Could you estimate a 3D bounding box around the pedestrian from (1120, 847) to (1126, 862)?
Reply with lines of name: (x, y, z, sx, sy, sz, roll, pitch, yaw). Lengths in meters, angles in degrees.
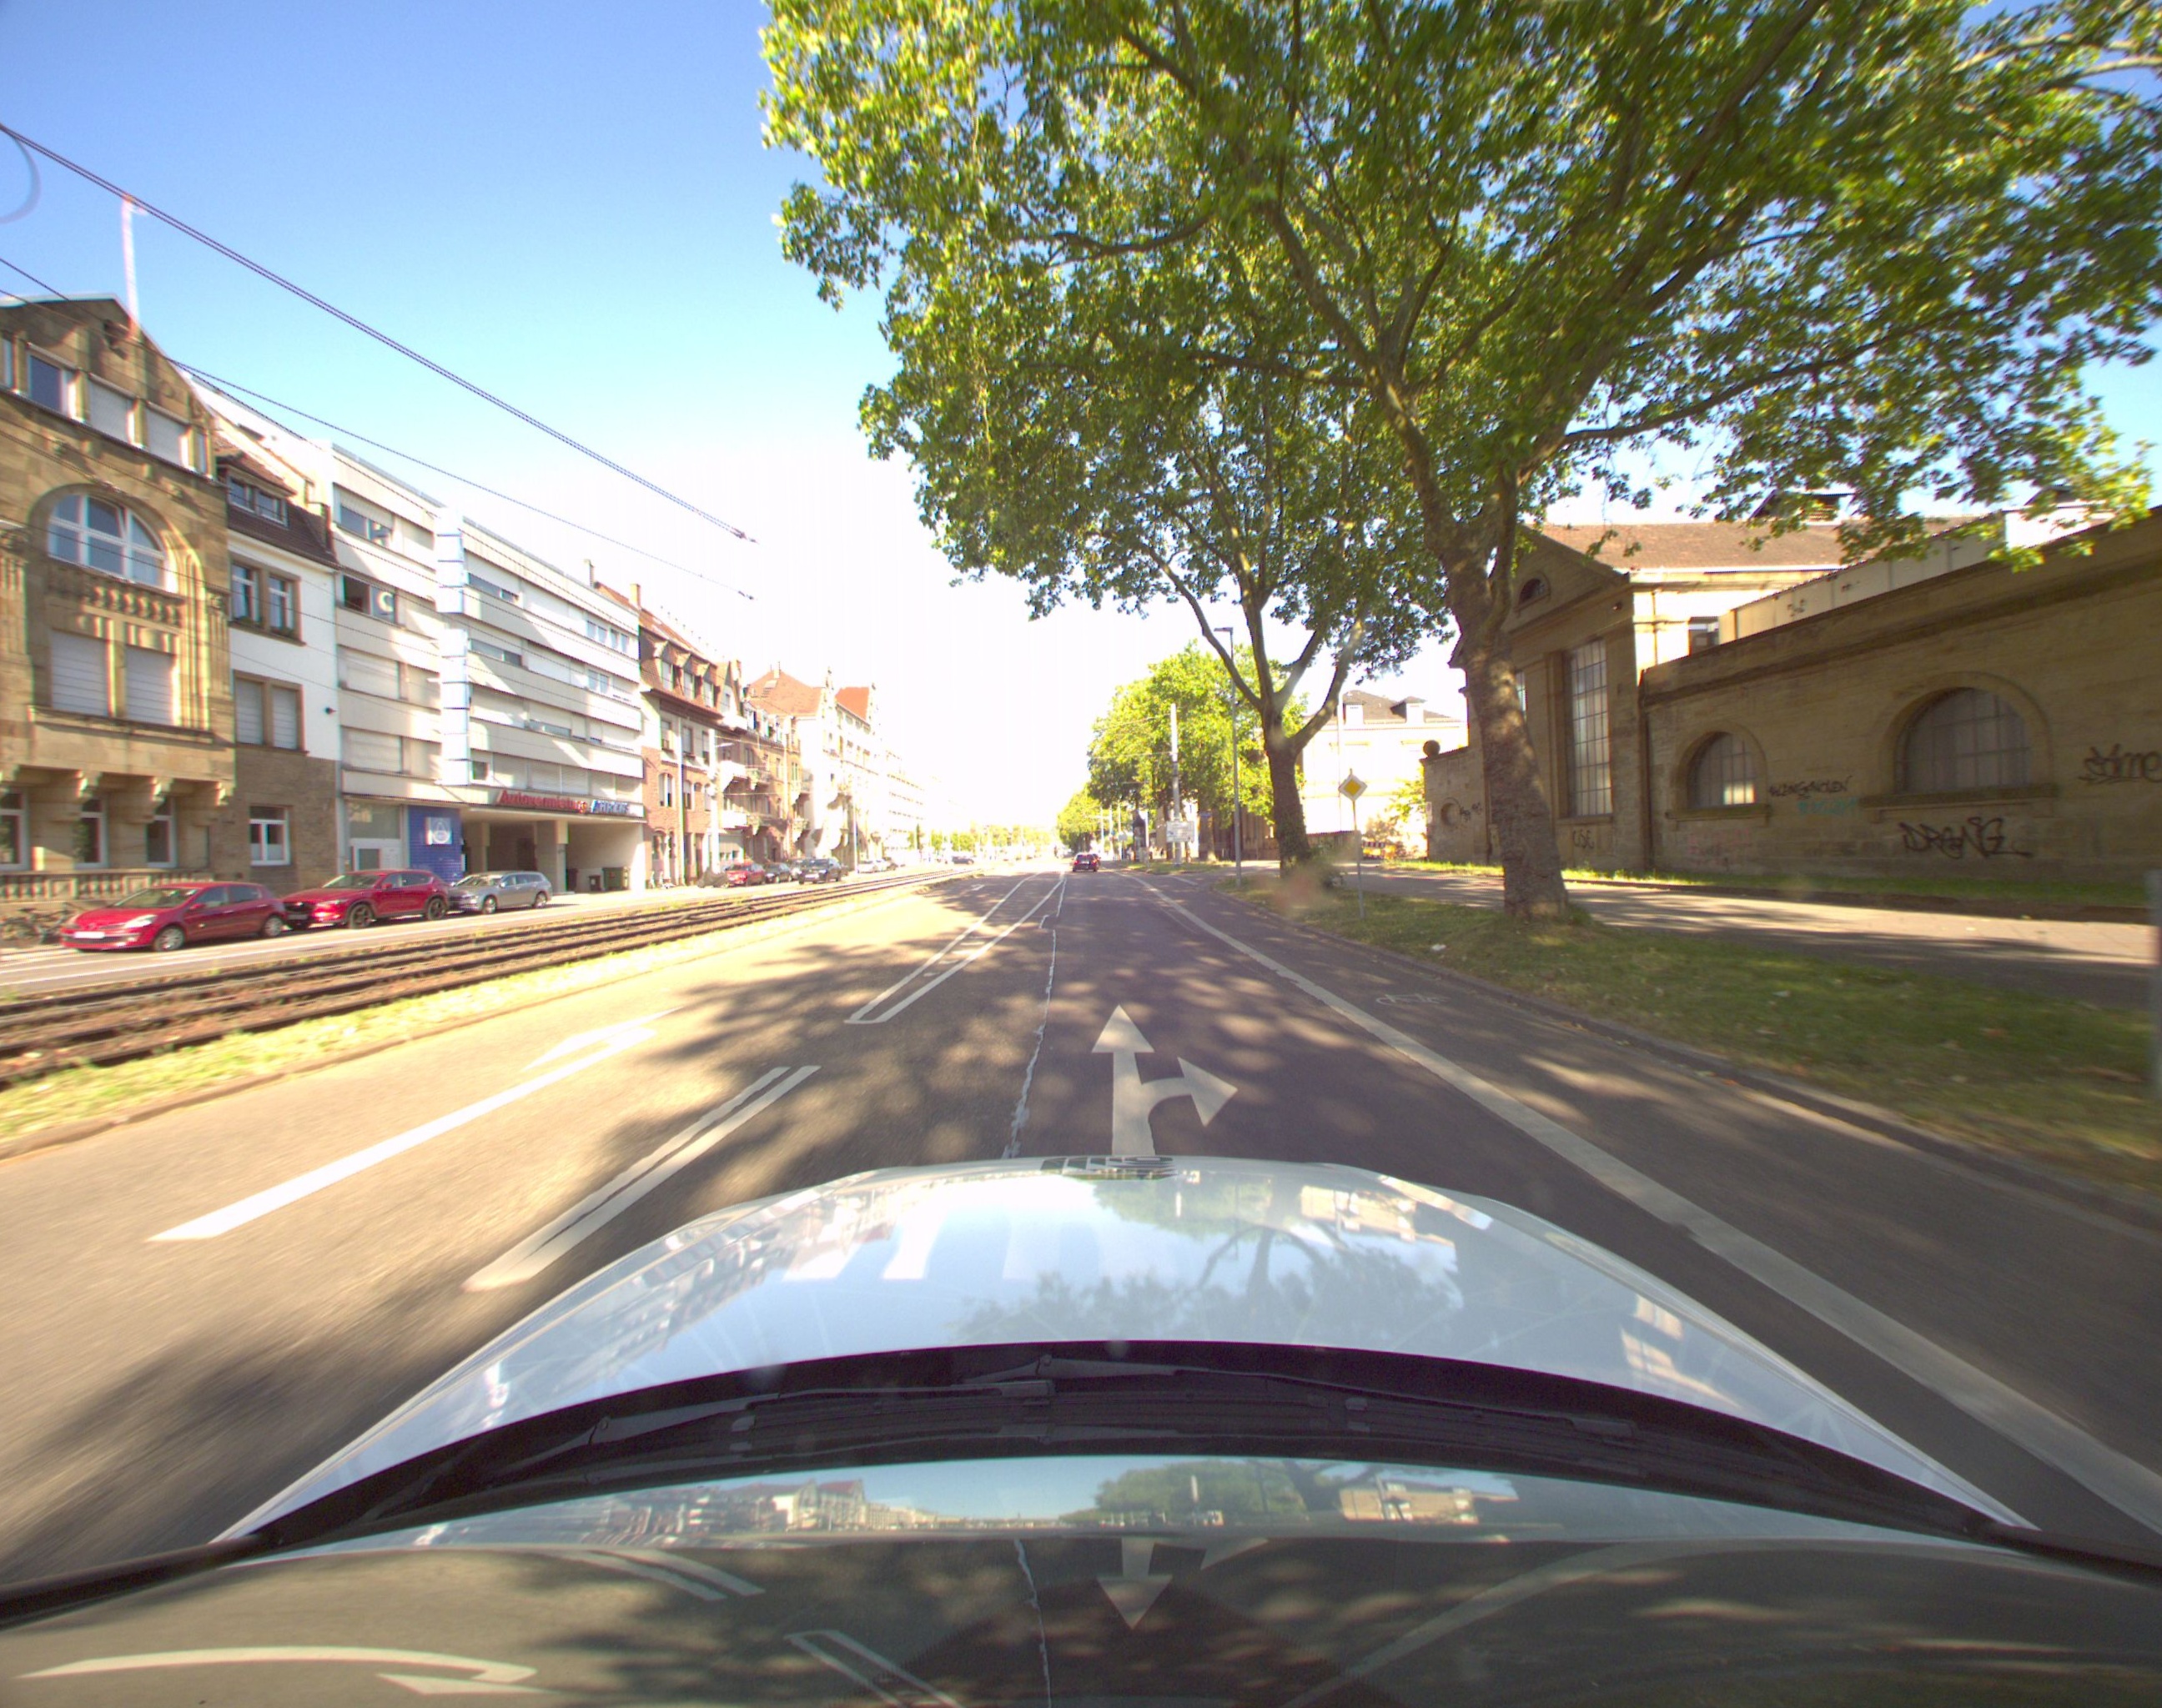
pedestrian: (4.738, 0.031, 92.526, 0.584, 1.728, 0.652, 0, 0, 11)

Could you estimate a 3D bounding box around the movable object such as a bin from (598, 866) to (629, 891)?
movable object such as a bin: (-26.646, 1.403, 46.432, 1.410, 1.371, 0.633, -1, 0, -8)

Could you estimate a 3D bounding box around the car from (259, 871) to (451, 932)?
car: (-21.411, 1.328, 24.306, 1.827, 1.558, 4.352, -1, 0, 0)

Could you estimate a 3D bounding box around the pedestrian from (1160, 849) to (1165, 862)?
pedestrian: (10.616, 0.166, 105.794, 0.584, 1.728, 0.652, 0, 0, 13)

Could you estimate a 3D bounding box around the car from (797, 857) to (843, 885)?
car: (-16.302, 1.041, 51.094, 1.631, 1.601, 4.154, -3, 0, -3)

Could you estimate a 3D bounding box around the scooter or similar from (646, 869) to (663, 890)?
scooter or similar: (-25.185, 1.471, 48.092, 0.390, 1.205, 1.200, 1, 0, 0)

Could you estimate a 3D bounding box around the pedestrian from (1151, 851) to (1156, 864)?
pedestrian: (9.427, 0.431, 106.012, 0.584, 1.728, 0.652, 0, 0, 11)

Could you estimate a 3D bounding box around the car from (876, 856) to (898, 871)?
car: (-23.071, 1.155, 96.891, 1.790, 1.719, 4.181, 1, 0, -2)

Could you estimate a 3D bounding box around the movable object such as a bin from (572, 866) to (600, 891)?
movable object such as a bin: (-28.078, 1.406, 46.199, 1.192, 1.371, 0.633, -1, 0, -8)

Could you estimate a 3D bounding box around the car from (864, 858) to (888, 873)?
car: (-22.930, 1.284, 91.324, 1.790, 1.510, 4.181, 1, 0, -2)

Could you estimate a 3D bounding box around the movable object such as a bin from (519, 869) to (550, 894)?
movable object such as a bin: (-30.853, 1.553, 46.014, 1.263, 1.371, 0.635, -2, 0, -2)

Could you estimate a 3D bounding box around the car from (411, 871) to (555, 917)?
car: (-21.491, 1.383, 29.533, 1.828, 1.391, 4.679, -1, 0, -2)

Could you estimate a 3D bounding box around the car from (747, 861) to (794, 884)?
car: (-21.775, 1.288, 57.324, 1.789, 1.510, 3.998, 1, 0, -1)

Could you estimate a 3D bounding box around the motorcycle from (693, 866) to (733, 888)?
motorcycle: (-22.106, 1.378, 48.987, 2.072, 1.327, 0.836, 1, 0, -17)

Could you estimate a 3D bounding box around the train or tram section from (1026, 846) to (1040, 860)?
train or tram section: (-11.983, -0.317, 205.255, 2.816, 3.450, 9.062, -2, 0, 0)

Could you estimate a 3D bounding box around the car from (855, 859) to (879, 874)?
car: (-22.512, 1.293, 85.853, 1.792, 1.510, 3.992, 1, 0, -5)

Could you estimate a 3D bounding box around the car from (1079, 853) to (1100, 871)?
car: (0.749, 0.662, 72.897, 1.789, 1.510, 3.999, -2, 0, -1)

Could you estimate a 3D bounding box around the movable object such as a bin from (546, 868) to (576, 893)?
movable object such as a bin: (-29.518, 1.497, 46.227, 1.265, 1.371, 0.634, -2, 0, -5)

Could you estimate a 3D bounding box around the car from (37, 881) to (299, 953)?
car: (-21.315, 1.415, 19.309, 1.831, 1.391, 4.027, 1, 0, -6)

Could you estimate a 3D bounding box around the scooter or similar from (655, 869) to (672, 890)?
scooter or similar: (-24.621, 1.480, 48.036, 0.390, 1.205, 1.200, 1, 0, 0)

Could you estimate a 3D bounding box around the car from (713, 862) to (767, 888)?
car: (-21.907, 1.321, 52.486, 1.789, 1.460, 4.263, 1, 0, -2)

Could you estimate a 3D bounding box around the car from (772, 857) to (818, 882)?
car: (-21.824, 1.151, 62.367, 1.787, 1.754, 4.457, 1, 0, 2)

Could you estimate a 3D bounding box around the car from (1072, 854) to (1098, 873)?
car: (0.299, 0.707, 63.183, 1.828, 1.391, 4.156, -1, 0, -2)
